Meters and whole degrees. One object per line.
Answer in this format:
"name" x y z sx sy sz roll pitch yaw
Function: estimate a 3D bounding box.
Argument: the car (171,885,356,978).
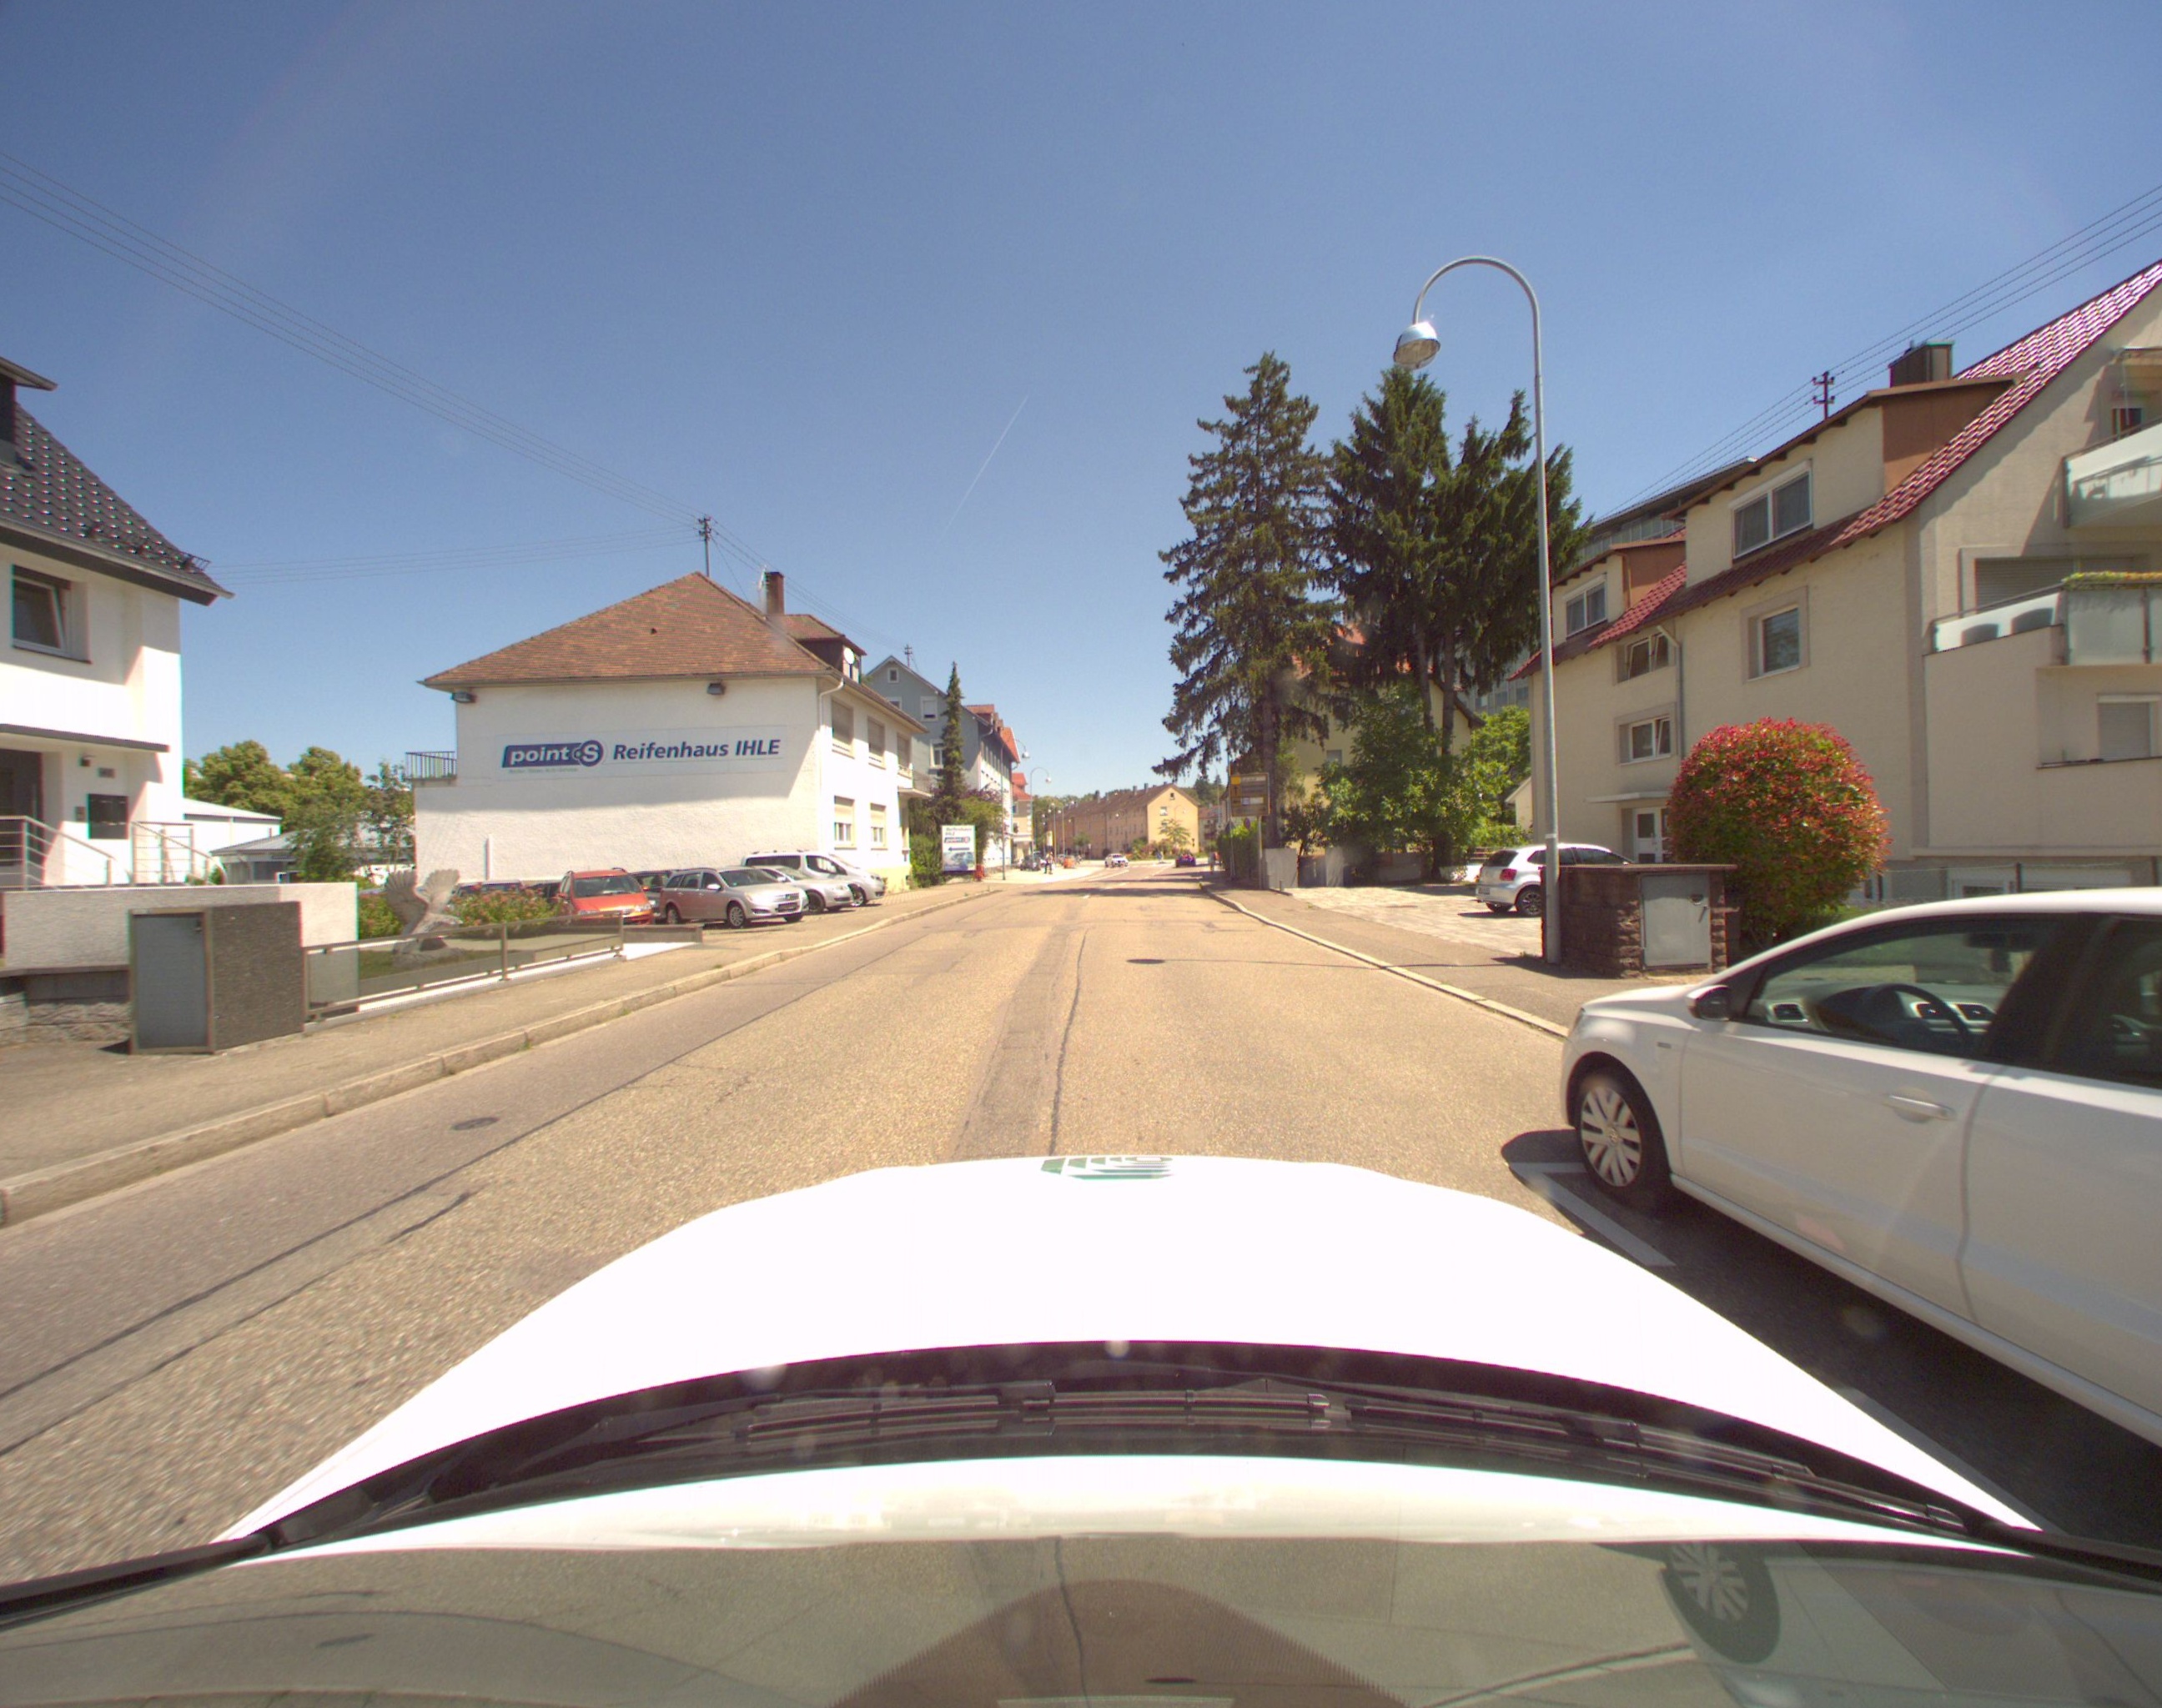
"car" -19.677 1.749 19.859 1.830 1.755 4.148 -5 1 -27

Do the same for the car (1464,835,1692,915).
"car" 10.151 0.444 16.877 3.601 1.530 1.780 -1 -2 5

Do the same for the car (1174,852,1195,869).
"car" 9.992 0.684 78.908 1.861 1.530 4.514 -2 -1 6

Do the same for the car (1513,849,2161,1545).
"car" 3.107 0.714 2.426 1.679 1.455 3.739 0 0 0

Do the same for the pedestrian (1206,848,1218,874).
"pedestrian" 8.257 0.438 51.357 0.620 1.644 0.773 -2 -1 5

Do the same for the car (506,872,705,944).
"car" -13.583 1.519 23.439 4.452 1.495 1.978 -6 0 3

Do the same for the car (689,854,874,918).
"car" -8.480 0.883 23.303 4.452 1.495 1.978 -3 0 3

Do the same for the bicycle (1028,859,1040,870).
"bicycle" -4.127 0.942 71.953 0.492 0.977 1.980 3 0 13

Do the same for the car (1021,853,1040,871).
"car" -4.690 0.787 75.901 1.573 1.534 3.772 -1 -1 -1

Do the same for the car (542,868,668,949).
"car" -11.620 1.261 19.757 1.863 1.644 4.157 -4 0 -40

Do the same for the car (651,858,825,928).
"car" -8.564 0.980 20.219 4.219 1.495 1.889 -3 0 34

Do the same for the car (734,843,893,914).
"car" -8.338 0.736 25.751 4.344 1.877 1.847 -3 0 -5

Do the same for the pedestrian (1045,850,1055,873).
"pedestrian" -2.548 0.610 67.125 0.753 1.848 0.772 2 -1 0

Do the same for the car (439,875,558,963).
"car" -14.095 1.509 19.613 2.011 1.728 3.953 -4 0 -39

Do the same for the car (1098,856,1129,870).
"car" 3.742 1.049 94.329 1.832 1.530 3.911 0 -2 -30

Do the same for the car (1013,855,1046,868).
"car" -6.570 0.976 104.106 4.107 1.551 1.785 0 0 -4
